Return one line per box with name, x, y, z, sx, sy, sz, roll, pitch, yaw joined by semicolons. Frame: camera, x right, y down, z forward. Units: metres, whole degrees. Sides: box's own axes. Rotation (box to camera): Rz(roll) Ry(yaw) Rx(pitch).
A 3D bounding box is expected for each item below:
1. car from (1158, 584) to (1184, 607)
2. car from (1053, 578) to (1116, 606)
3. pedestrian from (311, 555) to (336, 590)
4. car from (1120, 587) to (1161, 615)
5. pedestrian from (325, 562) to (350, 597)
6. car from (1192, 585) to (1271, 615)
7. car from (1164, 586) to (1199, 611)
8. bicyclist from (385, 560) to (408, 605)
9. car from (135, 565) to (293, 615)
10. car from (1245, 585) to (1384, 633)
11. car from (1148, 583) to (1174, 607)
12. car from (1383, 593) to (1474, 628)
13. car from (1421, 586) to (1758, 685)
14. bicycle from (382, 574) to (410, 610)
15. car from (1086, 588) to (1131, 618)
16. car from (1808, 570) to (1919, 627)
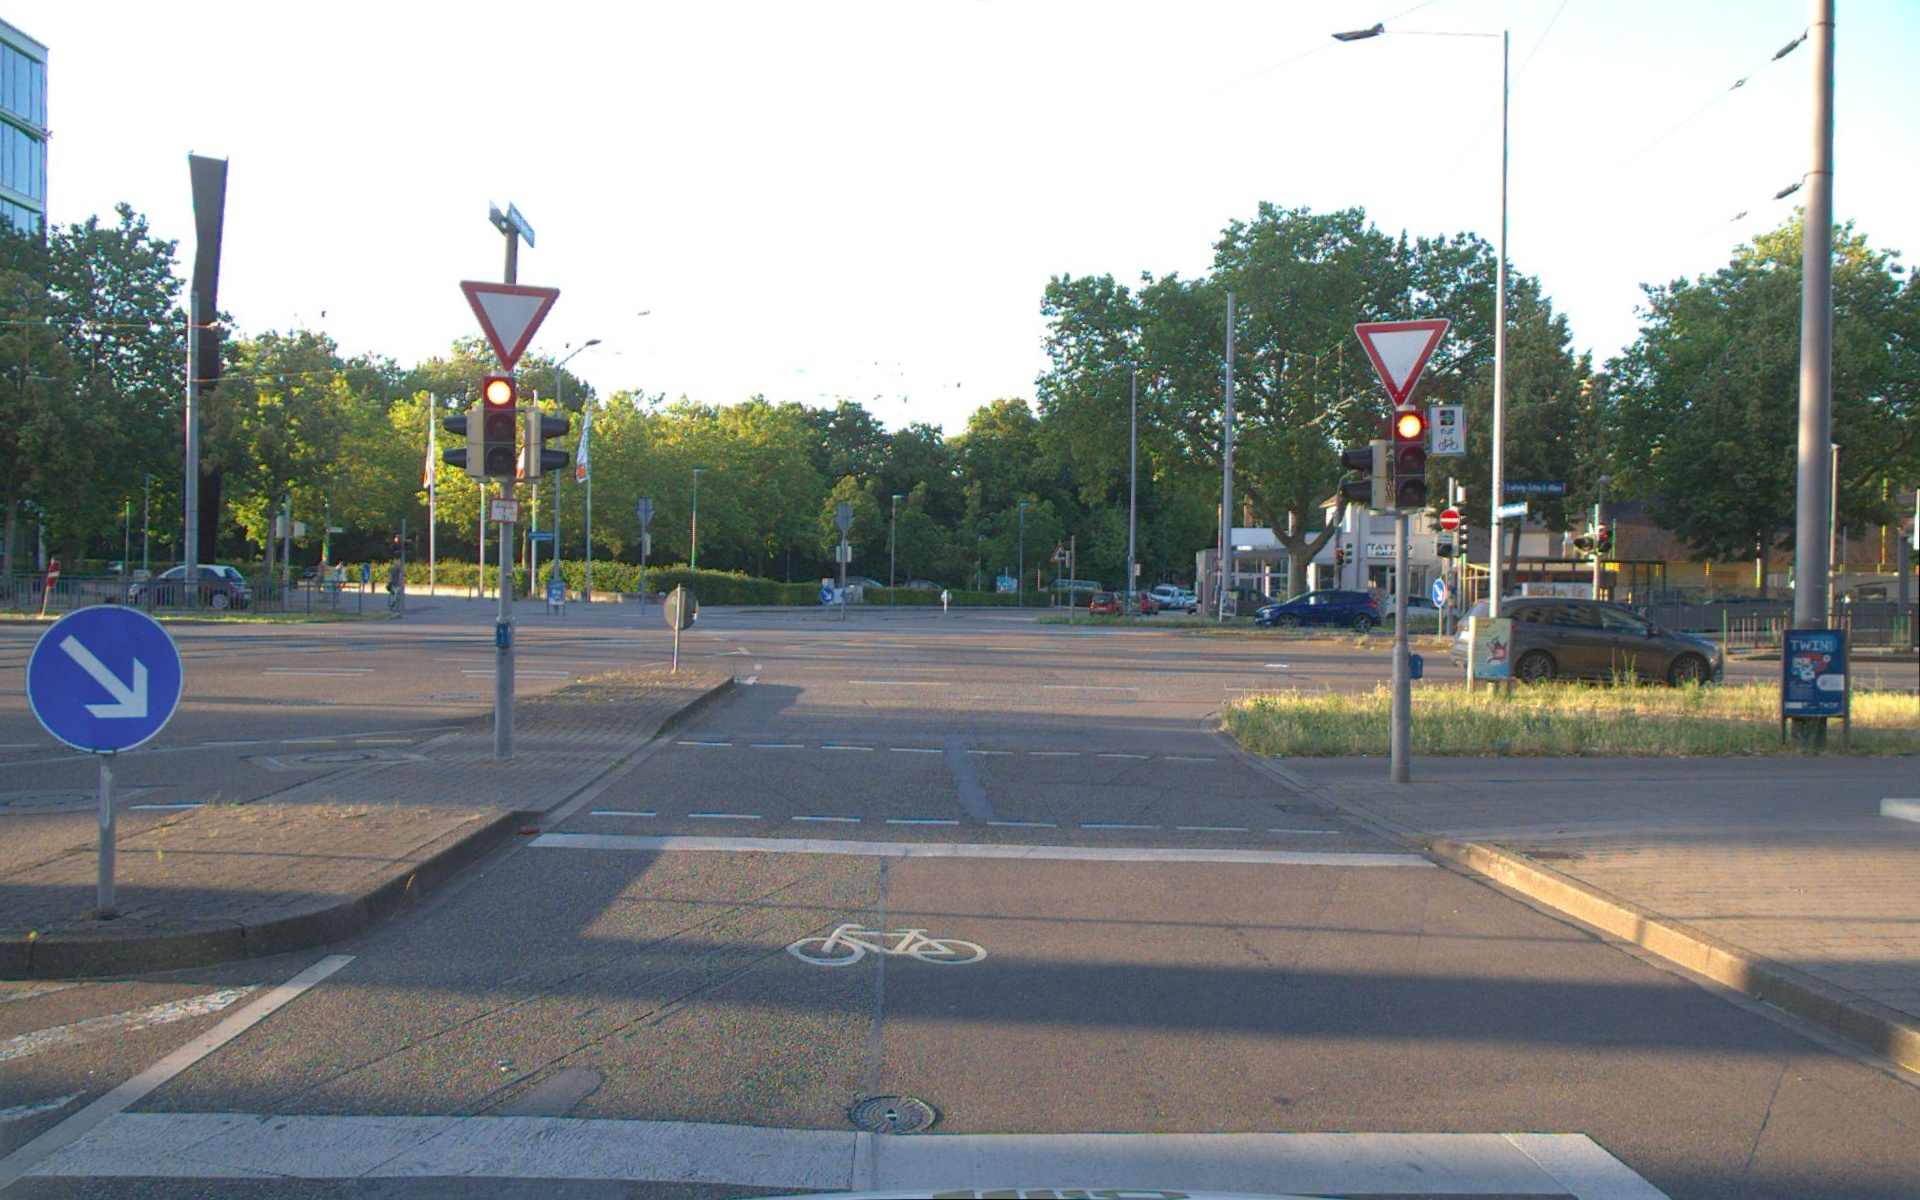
car;17.399;-0.366;136.346;1.823;1.825;4.003;0;-1;12
car;9.500;-0.603;126.020;4.675;2.041;2.000;1;-1;1
pedestrian;-31.902;-1.375;82.931;0.845;1.774;0.828;1;0;33
car;11.313;0.084;103.535;1.951;1.691;4.003;0;-1;14
pedestrian;-31.541;-1.044;83.809;0.843;1.774;0.829;1;0;28
car;14.648;0.016;89.382;4.129;1.579;2.001;1;-1;7
car;15.547;-0.075;115.828;1.951;1.691;4.003;0;-1;14
bicyclist;-21.724;-0.673;63.730;0.741;1.739;0.912;1;0;-26
car;-24.078;-0.310;53.506;4.247;1.522;1.802;1;-1;-5
car;12.179;0.303;57.060;4.380;1.579;2.000;1;-1;0
car;15.990;-0.376;131.430;1.823;1.825;4.003;1;-1;10
car;20.488;0.457;72.459;3.659;1.465;1.665;1;-1;9
car;10.508;0.574;27.839;4.907;1.537;1.987;1;0;-3
bicycle;-21.749;-0.311;63.738;0.721;1.364;2.668;1;0;-26
car;8.615;0.210;95.806;1.951;1.691;4.003;0;-1;14
car;43.661;-0.064;78.687;5.476;2.596;2.231;1;0;7
